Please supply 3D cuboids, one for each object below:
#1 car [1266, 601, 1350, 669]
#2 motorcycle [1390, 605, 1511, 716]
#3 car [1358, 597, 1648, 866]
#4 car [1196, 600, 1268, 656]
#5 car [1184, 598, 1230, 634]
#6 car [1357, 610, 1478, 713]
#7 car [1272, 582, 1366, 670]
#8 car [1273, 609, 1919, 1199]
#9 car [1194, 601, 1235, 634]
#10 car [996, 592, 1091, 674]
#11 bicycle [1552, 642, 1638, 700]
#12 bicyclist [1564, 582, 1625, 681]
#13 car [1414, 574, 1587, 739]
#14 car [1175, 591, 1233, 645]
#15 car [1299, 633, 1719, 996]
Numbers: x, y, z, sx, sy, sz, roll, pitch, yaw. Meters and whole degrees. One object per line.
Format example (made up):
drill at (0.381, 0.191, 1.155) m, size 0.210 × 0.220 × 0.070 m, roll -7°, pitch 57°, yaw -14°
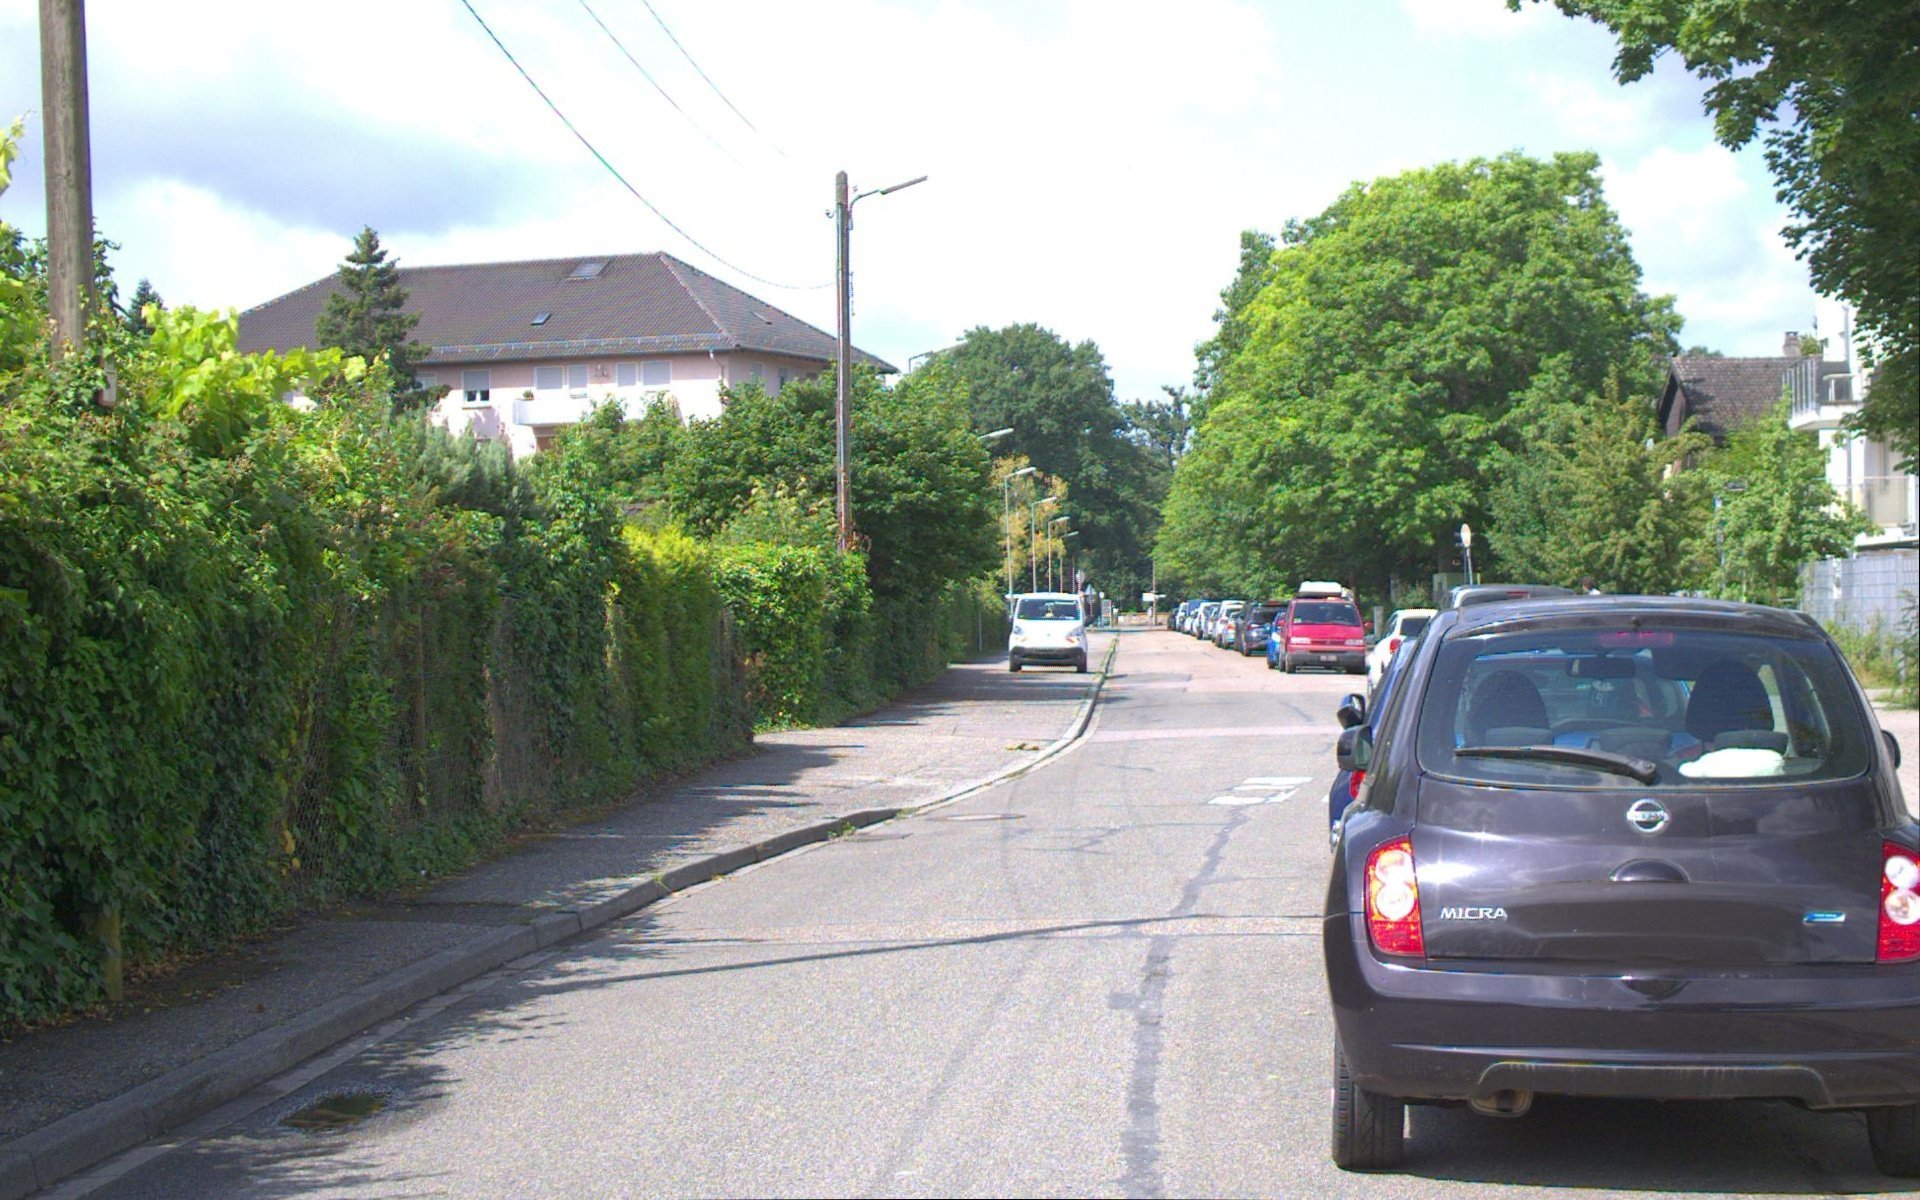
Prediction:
car at (8.776, 0.885, 86.884) m, size 2.058 × 1.646 × 4.540 m, roll 0°, pitch 0°, yaw 5°
motorcycle at (6.113, 0.754, 42.898) m, size 1.427 × 1.357 × 0.869 m, roll 0°, pitch -1°, yaw 4°
car at (3.483, 0.778, 21.879) m, size 1.664 × 1.547 × 3.635 m, roll 0°, pitch 0°, yaw 10°
car at (8.178, 0.838, 103.058) m, size 2.058 × 1.646 × 4.540 m, roll 0°, pitch 0°, yaw 5°
car at (11.364, 0.734, 158.055) m, size 1.852 × 1.612 × 3.999 m, roll -1°, pitch -1°, yaw 7°
car at (6.995, 0.925, 52.869) m, size 1.679 × 1.514 × 3.999 m, roll 0°, pitch 0°, yaw 5°
car at (8.147, 0.592, 78.224) m, size 2.058 × 1.919 × 4.540 m, roll 0°, pitch 0°, yaw 5°
car at (1.868, 0.796, 10.404) m, size 1.664 × 1.501 × 3.999 m, roll 0°, pitch 0°, yaw 8°
car at (12.777, 0.864, 172.507) m, size 1.852 × 1.612 × 3.999 m, roll 0°, pitch 0°, yaw 7°
car at (1.939, 0.759, 78.698) m, size 1.903 × 1.808 × 3.999 m, roll 0°, pitch 0°, yaw 5°
bicycle at (11.631, 1.295, 62.950) m, size 0.860 × 1.023 × 1.816 m, roll 0°, pitch -1°, yaw 36°
bicyclist at (11.624, 0.576, 62.939) m, size 0.786 × 1.779 × 0.892 m, roll 0°, pitch -1°, yaw 35°
car at (6.180, 0.632, 39.617) m, size 1.875 × 1.800 × 3.431 m, roll 0°, pitch 0°, yaw 8°
car at (9.120, 0.690, 128.159) m, size 2.058 × 1.955 × 4.540 m, roll 0°, pitch 0°, yaw 5°
car at (2.488, 0.879, 15.972) m, size 1.664 × 1.435 × 4.205 m, roll 0°, pitch 0°, yaw 8°
